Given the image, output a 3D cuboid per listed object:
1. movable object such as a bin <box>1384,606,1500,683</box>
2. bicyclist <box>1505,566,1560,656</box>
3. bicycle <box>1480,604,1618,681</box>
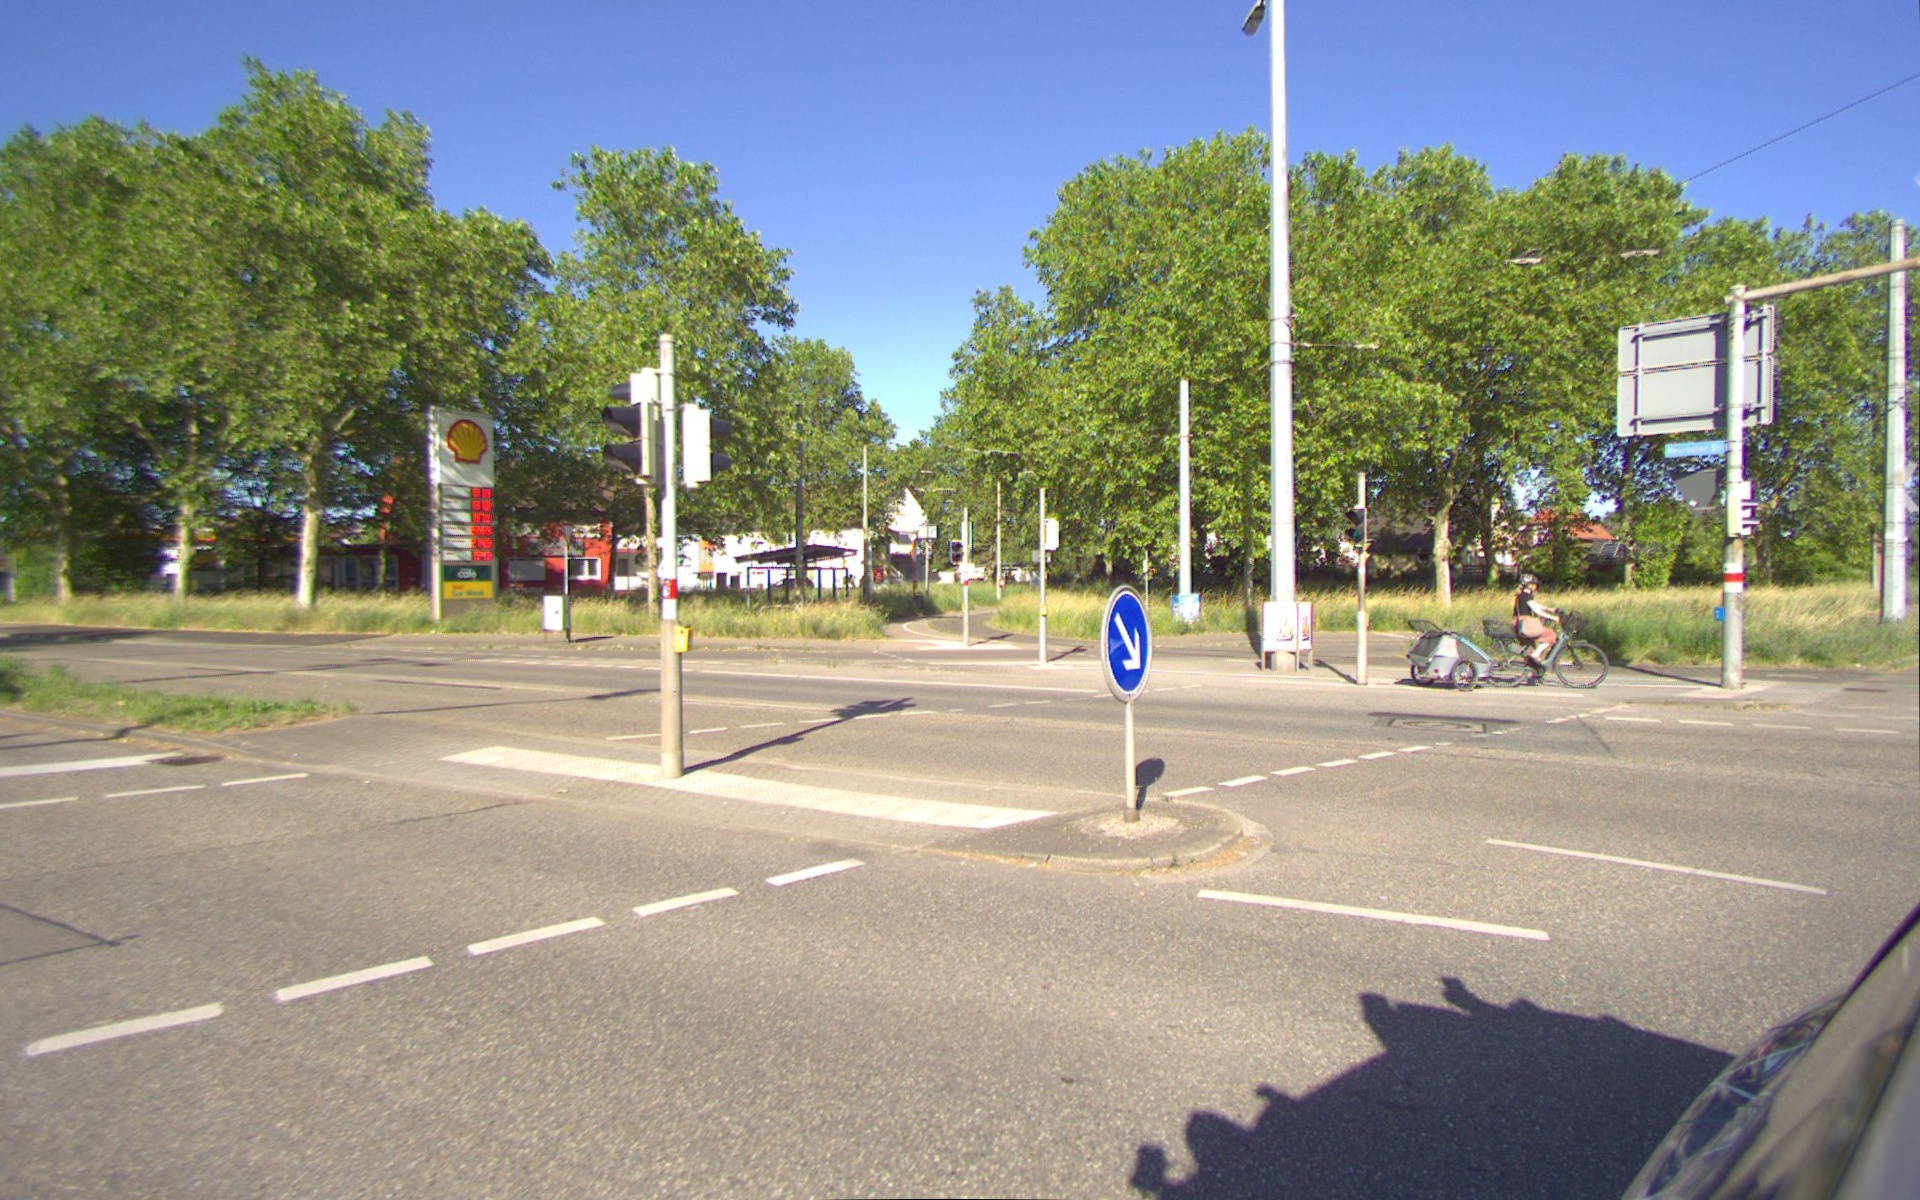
[{"bbox_3d":[7.267,0.649,15.304,1.291,1.082,0.912,-1,1,-4],"label":"movable object such as a bin"},{"bbox_3d":[8.726,0.157,15.432,0.555,1.357,0.511,0,1,4],"label":"bicyclist"},{"bbox_3d":[8.919,0.635,15.363,1.786,1.133,0.468,0,1,3],"label":"bicycle"}]
